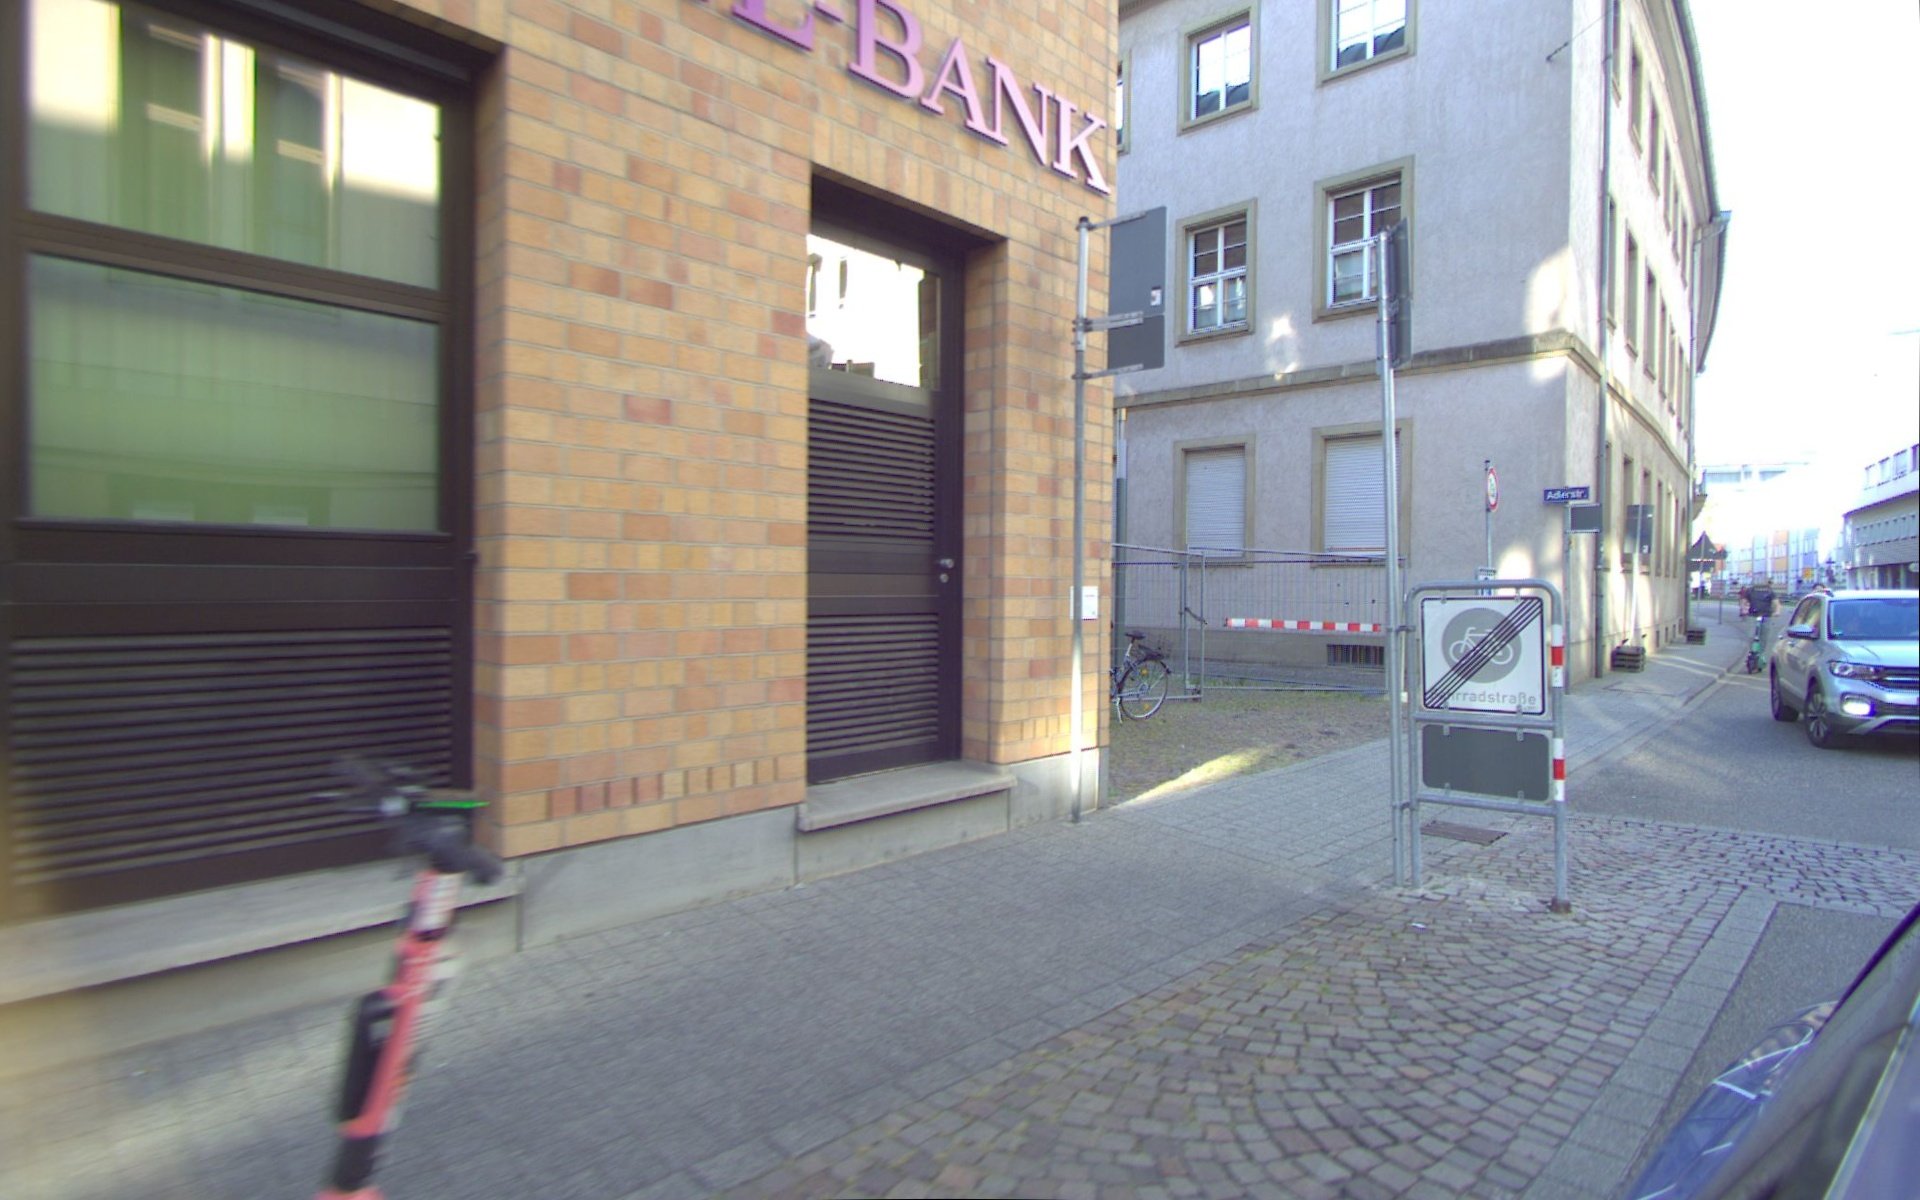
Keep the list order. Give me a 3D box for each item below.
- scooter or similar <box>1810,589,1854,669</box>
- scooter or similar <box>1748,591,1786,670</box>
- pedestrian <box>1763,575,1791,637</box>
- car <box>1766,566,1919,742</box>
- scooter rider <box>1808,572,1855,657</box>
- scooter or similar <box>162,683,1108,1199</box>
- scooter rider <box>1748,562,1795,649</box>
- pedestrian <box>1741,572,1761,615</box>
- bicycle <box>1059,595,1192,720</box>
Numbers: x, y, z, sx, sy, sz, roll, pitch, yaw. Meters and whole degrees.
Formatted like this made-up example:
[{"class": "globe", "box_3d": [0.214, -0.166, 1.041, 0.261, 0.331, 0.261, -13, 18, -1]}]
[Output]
[{"class": "scooter or similar", "box_3d": [16.081, 0.505, 18.679, 0.548, 1.414, 1.533, 1, 1, 39]}, {"class": "scooter or similar", "box_3d": [15.215, 0.546, 19.071, 0.521, 1.414, 1.533, 1, 1, 39]}, {"class": "pedestrian", "box_3d": [27.461, 0.191, 34.017, 0.712, 2.039, 0.689, 1, 1, 39]}, {"class": "car", "box_3d": [9.845, 0.455, 10.537, 1.750, 1.565, 3.956, 0, 1, 31]}, {"class": "scooter rider", "box_3d": [16.059, 0.268, 18.660, 0.589, 1.527, 0.591, -2, -1, 40]}, {"class": "scooter or similar", "box_3d": [-0.484, 0.796, 1.773, 1.391, 1.251, 0.538, 0, -1, -2]}, {"class": "scooter rider", "box_3d": [15.446, 0.103, 19.266, 0.645, 1.614, 0.591, -2, -1, 40]}, {"class": "pedestrian", "box_3d": [37.873, -0.332, 48.469, 0.712, 2.039, 0.689, 1, 1, 39]}, {"class": "bicycle", "box_3d": [1.800, 0.587, 10.898, 1.551, 1.266, 0.320, 0, 0, -30]}]
